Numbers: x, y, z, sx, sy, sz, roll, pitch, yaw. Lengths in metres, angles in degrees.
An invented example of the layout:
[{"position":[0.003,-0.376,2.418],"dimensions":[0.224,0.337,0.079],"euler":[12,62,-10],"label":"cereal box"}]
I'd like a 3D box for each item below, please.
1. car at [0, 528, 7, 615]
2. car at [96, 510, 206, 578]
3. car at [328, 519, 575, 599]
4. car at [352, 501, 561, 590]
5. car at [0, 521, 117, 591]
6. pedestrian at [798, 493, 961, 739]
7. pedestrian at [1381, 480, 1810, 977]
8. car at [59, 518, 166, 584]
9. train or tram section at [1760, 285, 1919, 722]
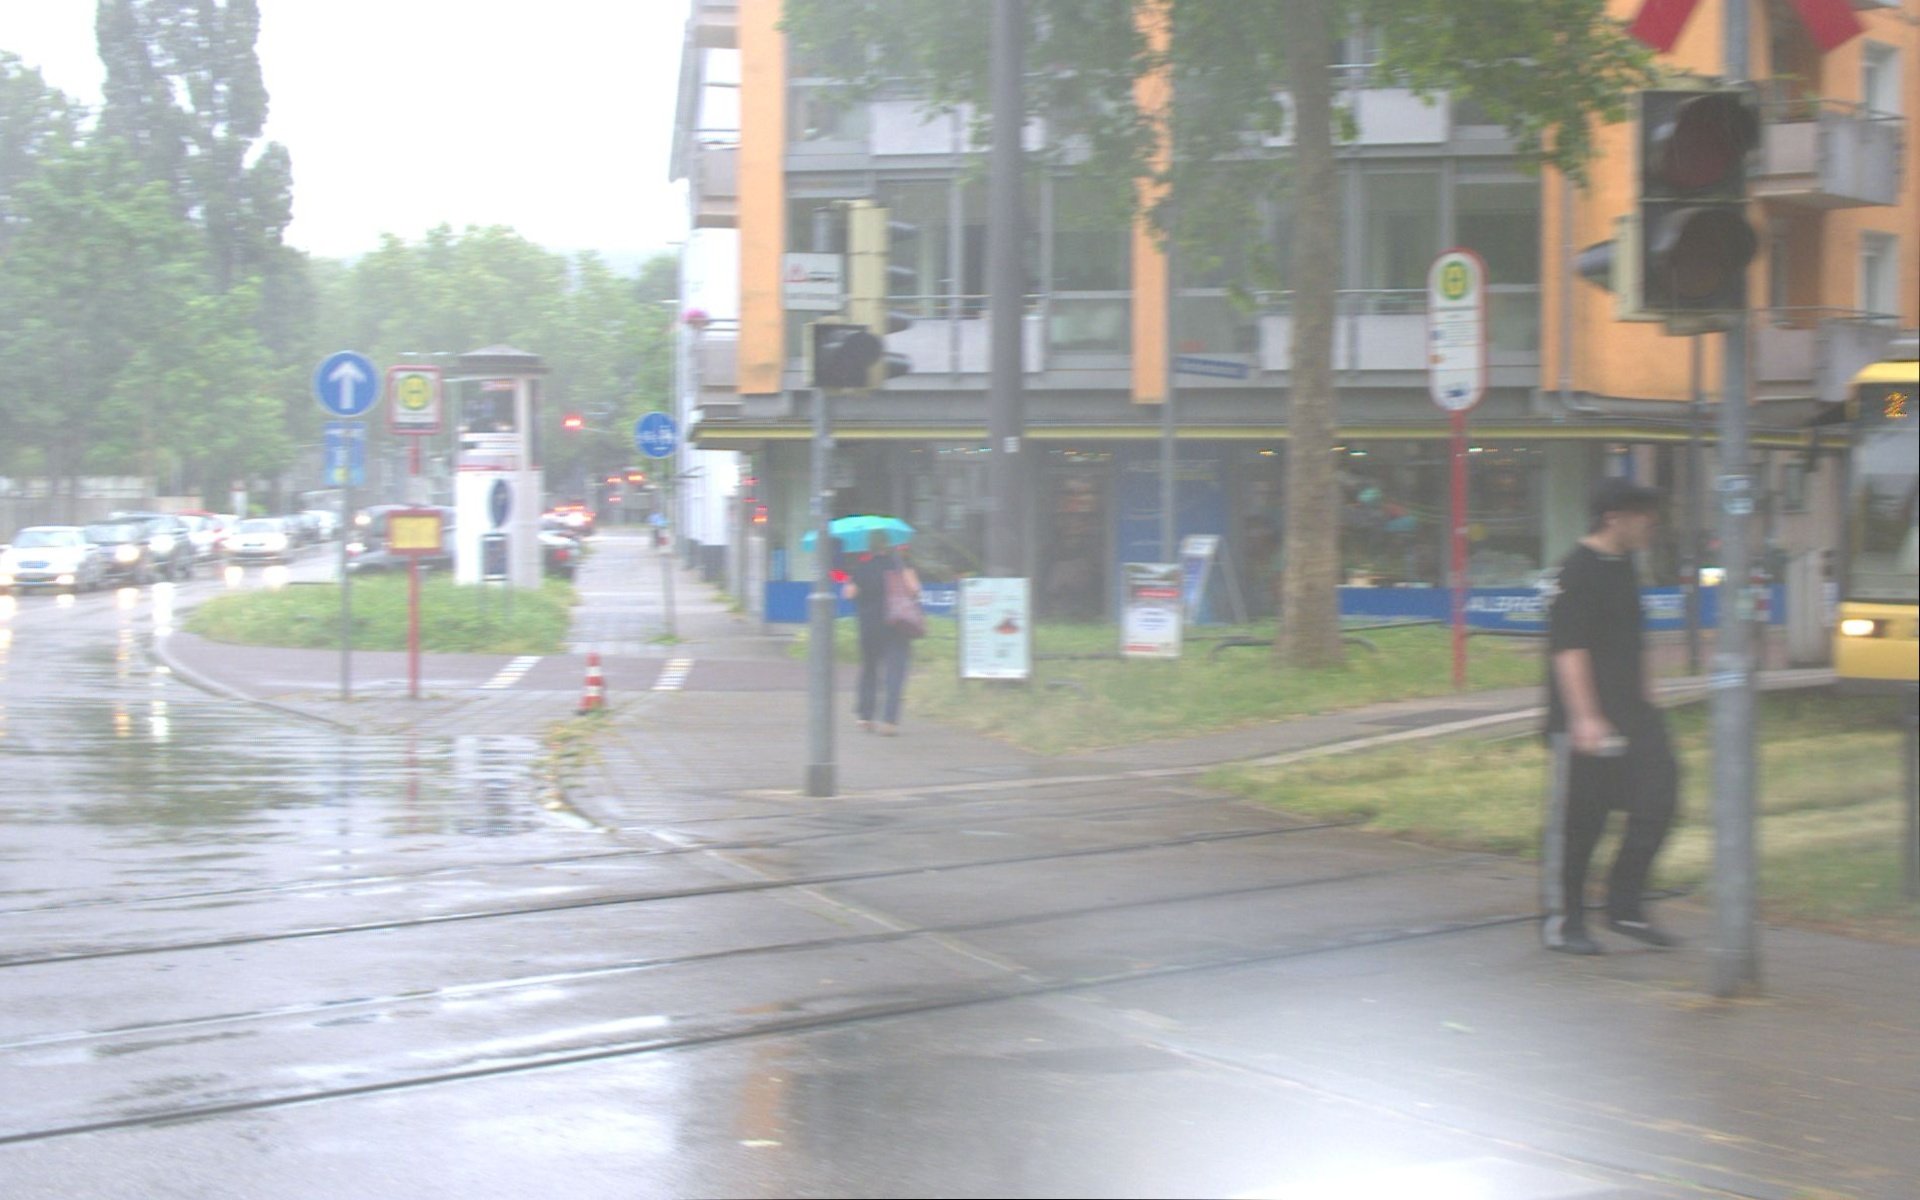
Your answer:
[{"position":[-18.600,-0.491,57.662],"dimensions":[4.919,1.449,2.083],"euler":[1,2,27],"label":"car"},{"position":[-20.212,-1.415,86.074],"dimensions":[1.914,1.634,4.822],"euler":[1,1,-4],"label":"car"},{"position":[-9.606,-0.787,65.212],"dimensions":[4.532,1.465,1.984],"euler":[0,1,-5],"label":"car"},{"position":[-10.476,-1.145,71.602],"dimensions":[4.231,1.799,1.945],"euler":[-1,1,-9],"label":"car"},{"position":[-18.854,-0.942,71.992],"dimensions":[1.774,1.398,4.831],"euler":[1,1,-7],"label":"car"},{"position":[-0.644,0.104,26.739],"dimensions":[1.170,1.858,1.385],"euler":[0,1,-5],"label":"pedestrian"},{"position":[2.404,0.440,13.109],"dimensions":[1.035,1.782,1.237],"euler":[0,2,-29],"label":"pedestrian"},{"position":[-19.501,-1.150,79.269],"dimensions":[1.778,1.415,4.266],"euler":[0,2,-5],"label":"car"},{"position":[10.045,-0.795,29.642],"dimensions":[2.644,3.358,8.357],"euler":[2,2,39],"label":"train or tram section"}]
